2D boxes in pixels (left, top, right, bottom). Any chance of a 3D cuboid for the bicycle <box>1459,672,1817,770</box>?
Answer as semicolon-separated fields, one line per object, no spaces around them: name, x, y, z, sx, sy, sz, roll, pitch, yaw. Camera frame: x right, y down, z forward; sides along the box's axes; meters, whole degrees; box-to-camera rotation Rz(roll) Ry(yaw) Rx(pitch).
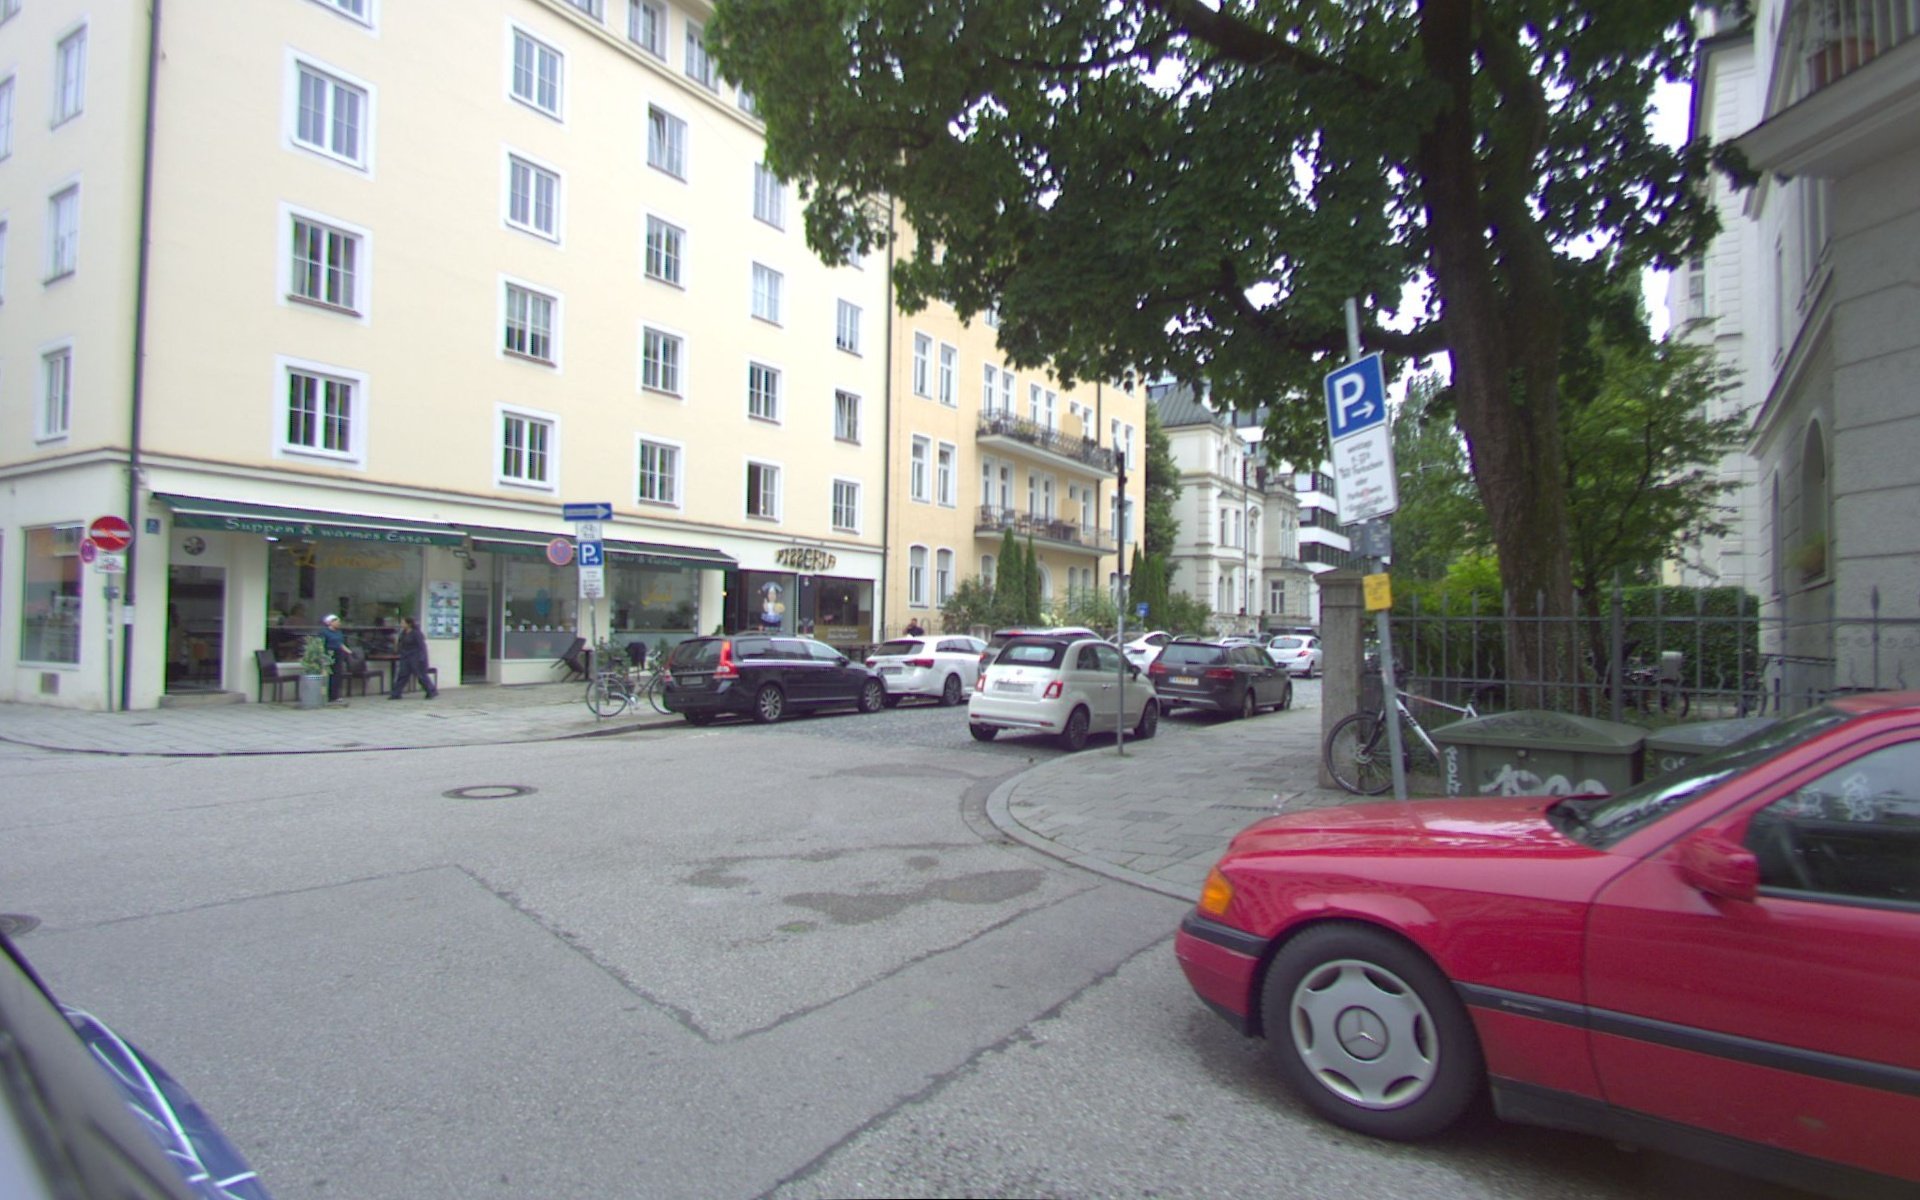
bicycle;7.410;1.286;11.293;3.211;0.864;0.810;-1;-3;36

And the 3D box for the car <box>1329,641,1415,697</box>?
car;12.932;2.092;31.659;1.992;1.564;3.959;-1;-2;30

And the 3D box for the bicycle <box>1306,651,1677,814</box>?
bicycle;4.352;1.036;8.533;2.638;1.172;0.799;-1;-3;27

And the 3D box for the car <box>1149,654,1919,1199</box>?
car;2.850;0.883;2.521;4.477;1.404;1.663;-1;-4;41

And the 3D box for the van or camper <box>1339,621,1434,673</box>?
van or camper;18.113;1.948;43.229;2.069;2.059;4.627;0;-1;-1

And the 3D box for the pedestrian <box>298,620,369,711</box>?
pedestrian;-11.584;1.199;18.736;0.907;1.623;0.778;1;-2;-17

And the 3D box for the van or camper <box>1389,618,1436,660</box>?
van or camper;31.370;2.680;70.075;2.074;2.807;4.371;-2;-3;36

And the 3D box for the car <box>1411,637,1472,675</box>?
car;21.279;2.431;44.671;1.994;1.564;3.956;-1;-3;32

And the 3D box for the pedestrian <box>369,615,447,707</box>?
pedestrian;-10.540;1.151;19.325;1.107;1.690;0.872;2;-3;-40

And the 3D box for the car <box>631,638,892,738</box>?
car;-3.352;1.508;17.908;2.022;1.494;4.440;-6;-5;32

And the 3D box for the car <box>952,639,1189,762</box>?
car;1.752;1.346;14.757;1.790;1.469;3.953;1;-2;34

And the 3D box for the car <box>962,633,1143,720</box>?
car;1.991;1.460;20.435;1.830;1.534;4.444;-1;-3;32

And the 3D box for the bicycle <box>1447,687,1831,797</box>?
bicycle;6.915;1.409;10.557;3.211;0.864;0.810;-1;-3;36

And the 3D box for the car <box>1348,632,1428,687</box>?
car;15.113;2.056;35.642;1.994;1.785;3.956;-1;-3;32

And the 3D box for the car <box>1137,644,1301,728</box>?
car;4.988;1.543;19.154;1.790;1.371;3.953;0;-2;34

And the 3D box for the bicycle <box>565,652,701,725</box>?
bicycle;-5.703;1.540;17.699;2.117;1.211;0.813;3;-3;-27

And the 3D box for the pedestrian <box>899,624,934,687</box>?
pedestrian;-1.262;1.609;29.476;0.847;1.803;0.777;0;-2;10

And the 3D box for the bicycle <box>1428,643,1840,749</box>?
bicycle;6.361;0.865;9.826;3.211;0.864;0.798;-1;-3;36

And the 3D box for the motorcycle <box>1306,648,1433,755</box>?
motorcycle;5.572;1.294;13.649;0.813;1.282;2.726;-1;-3;39

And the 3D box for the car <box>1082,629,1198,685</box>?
car;5.667;1.774;31.447;1.993;1.522;4.383;-6;-5;32

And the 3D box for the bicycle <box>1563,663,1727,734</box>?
bicycle;10.004;1.415;14.897;0.844;0.907;1.978;1;-2;-10

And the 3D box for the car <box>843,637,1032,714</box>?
car;-0.370;1.613;22.050;1.993;1.438;4.383;-6;-5;32

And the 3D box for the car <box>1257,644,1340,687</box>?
car;12.037;2.267;35.817;1.776;1.386;4.382;-1;-3;32

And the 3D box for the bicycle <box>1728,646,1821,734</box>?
bicycle;11.782;1.252;14.607;0.858;1.153;2.369;-2;-3;43
